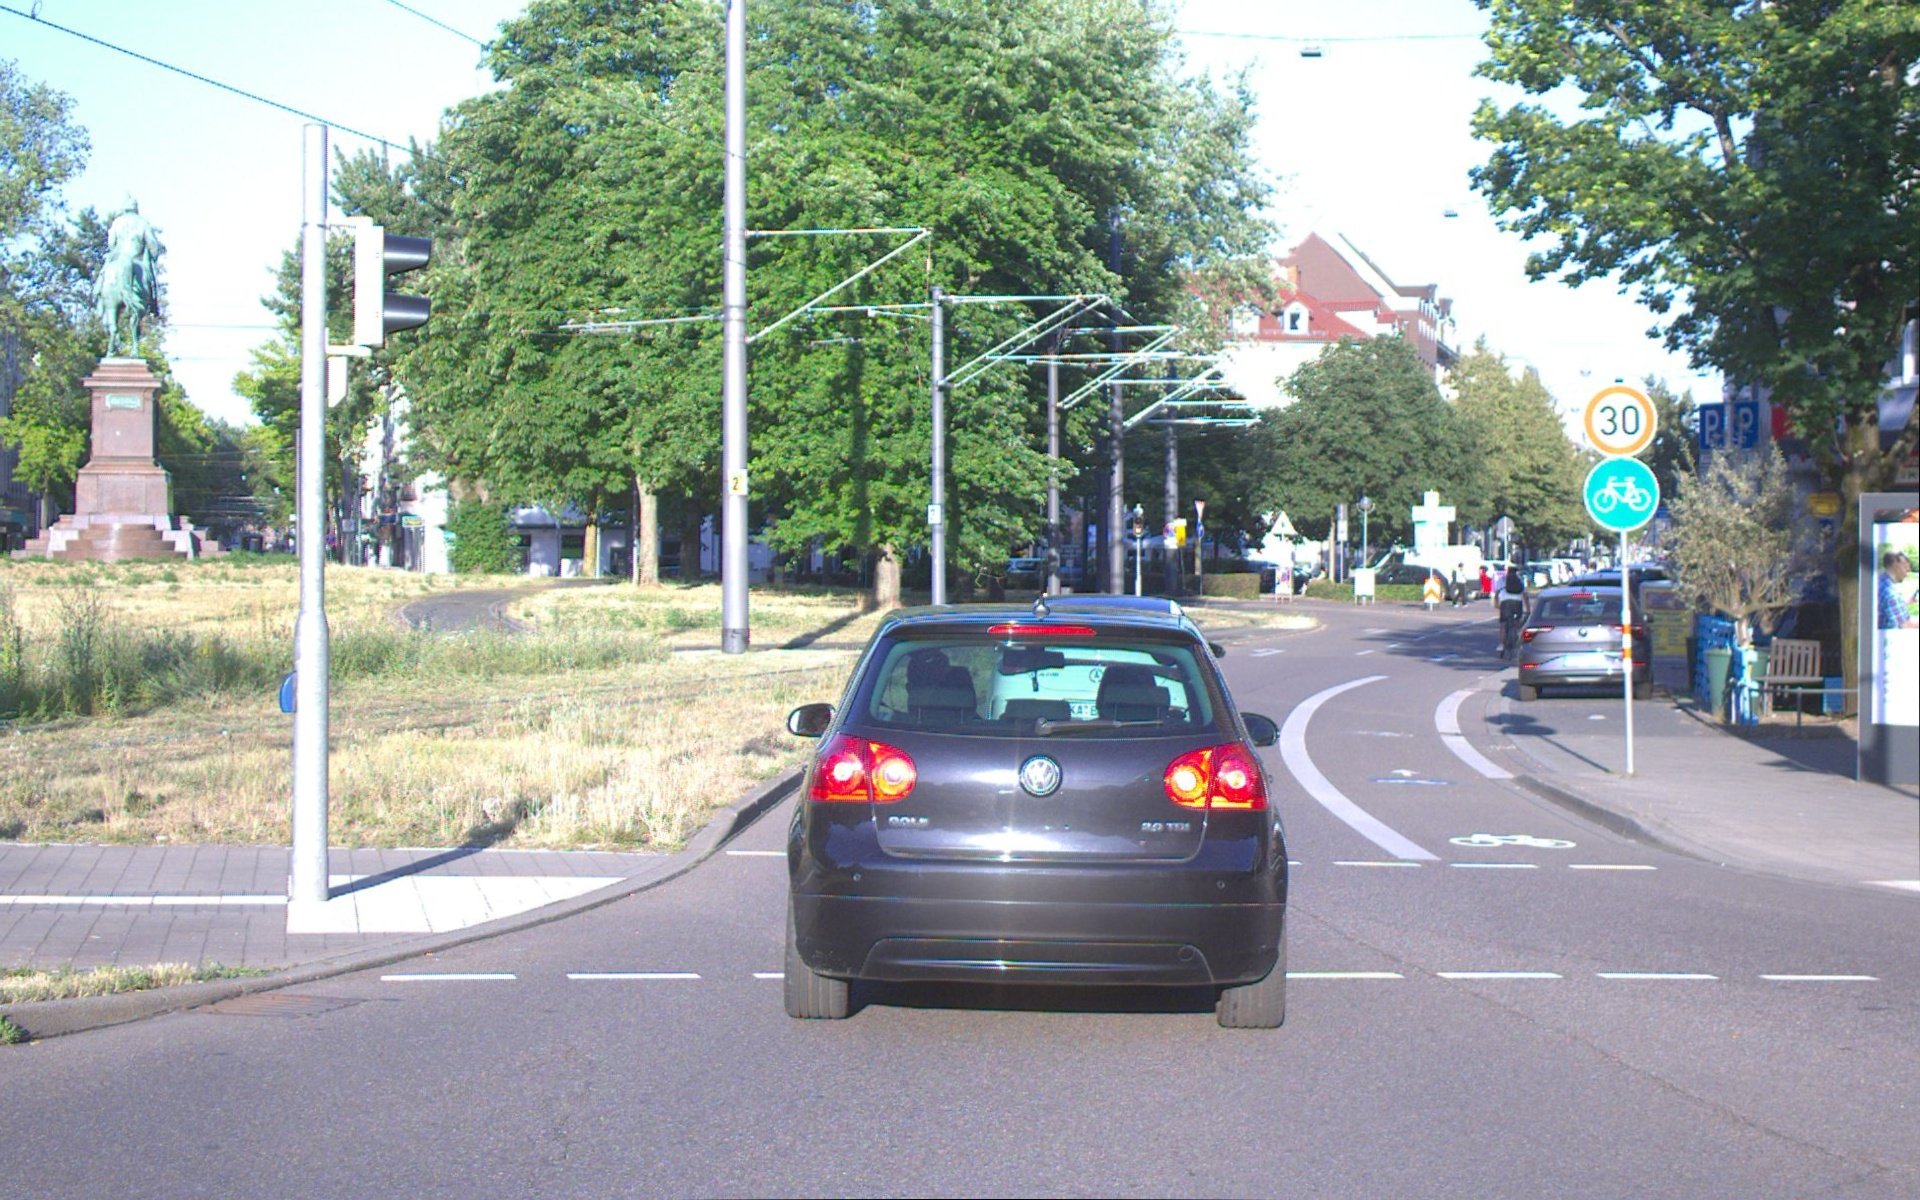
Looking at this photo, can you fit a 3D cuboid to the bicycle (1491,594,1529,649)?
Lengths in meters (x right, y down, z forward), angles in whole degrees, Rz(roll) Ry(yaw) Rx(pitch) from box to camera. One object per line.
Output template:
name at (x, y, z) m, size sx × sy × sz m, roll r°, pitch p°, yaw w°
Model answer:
bicycle at (10.305, 0.402, 64.347) m, size 0.579 × 0.984 × 1.934 m, roll 2°, pitch 1°, yaw 12°

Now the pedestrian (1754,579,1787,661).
pedestrian at (17.446, 0.427, 73.970) m, size 0.623 × 1.734 × 0.661 m, roll -2°, pitch 0°, yaw 14°

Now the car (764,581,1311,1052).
car at (0.284, 0.689, 13.200) m, size 1.747 × 1.456 × 4.103 m, roll 1°, pitch 1°, yaw 1°

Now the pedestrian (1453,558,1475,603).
pedestrian at (17.825, -0.694, 121.513) m, size 0.736 × 1.549 × 0.632 m, roll 1°, pitch 0°, yaw 9°

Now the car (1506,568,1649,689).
car at (8.206, 0.350, 45.481) m, size 1.729 × 1.467 × 3.897 m, roll -2°, pitch 0°, yaw 12°

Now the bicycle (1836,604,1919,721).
bicycle at (9.887, 0.652, 36.541) m, size 0.420 × 1.154 × 1.756 m, roll 0°, pitch 2°, yaw -10°

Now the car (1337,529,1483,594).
car at (18.462, -1.579, 141.111) m, size 5.509 × 2.586 × 2.155 m, roll 1°, pitch 1°, yaw -14°

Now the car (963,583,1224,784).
car at (1.186, 0.638, 28.588) m, size 1.865 × 1.436 × 4.196 m, roll -1°, pitch 2°, yaw 6°

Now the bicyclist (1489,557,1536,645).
bicyclist at (10.343, 0.018, 64.321) m, size 0.777 × 1.613 × 1.024 m, roll 2°, pitch 1°, yaw 12°
